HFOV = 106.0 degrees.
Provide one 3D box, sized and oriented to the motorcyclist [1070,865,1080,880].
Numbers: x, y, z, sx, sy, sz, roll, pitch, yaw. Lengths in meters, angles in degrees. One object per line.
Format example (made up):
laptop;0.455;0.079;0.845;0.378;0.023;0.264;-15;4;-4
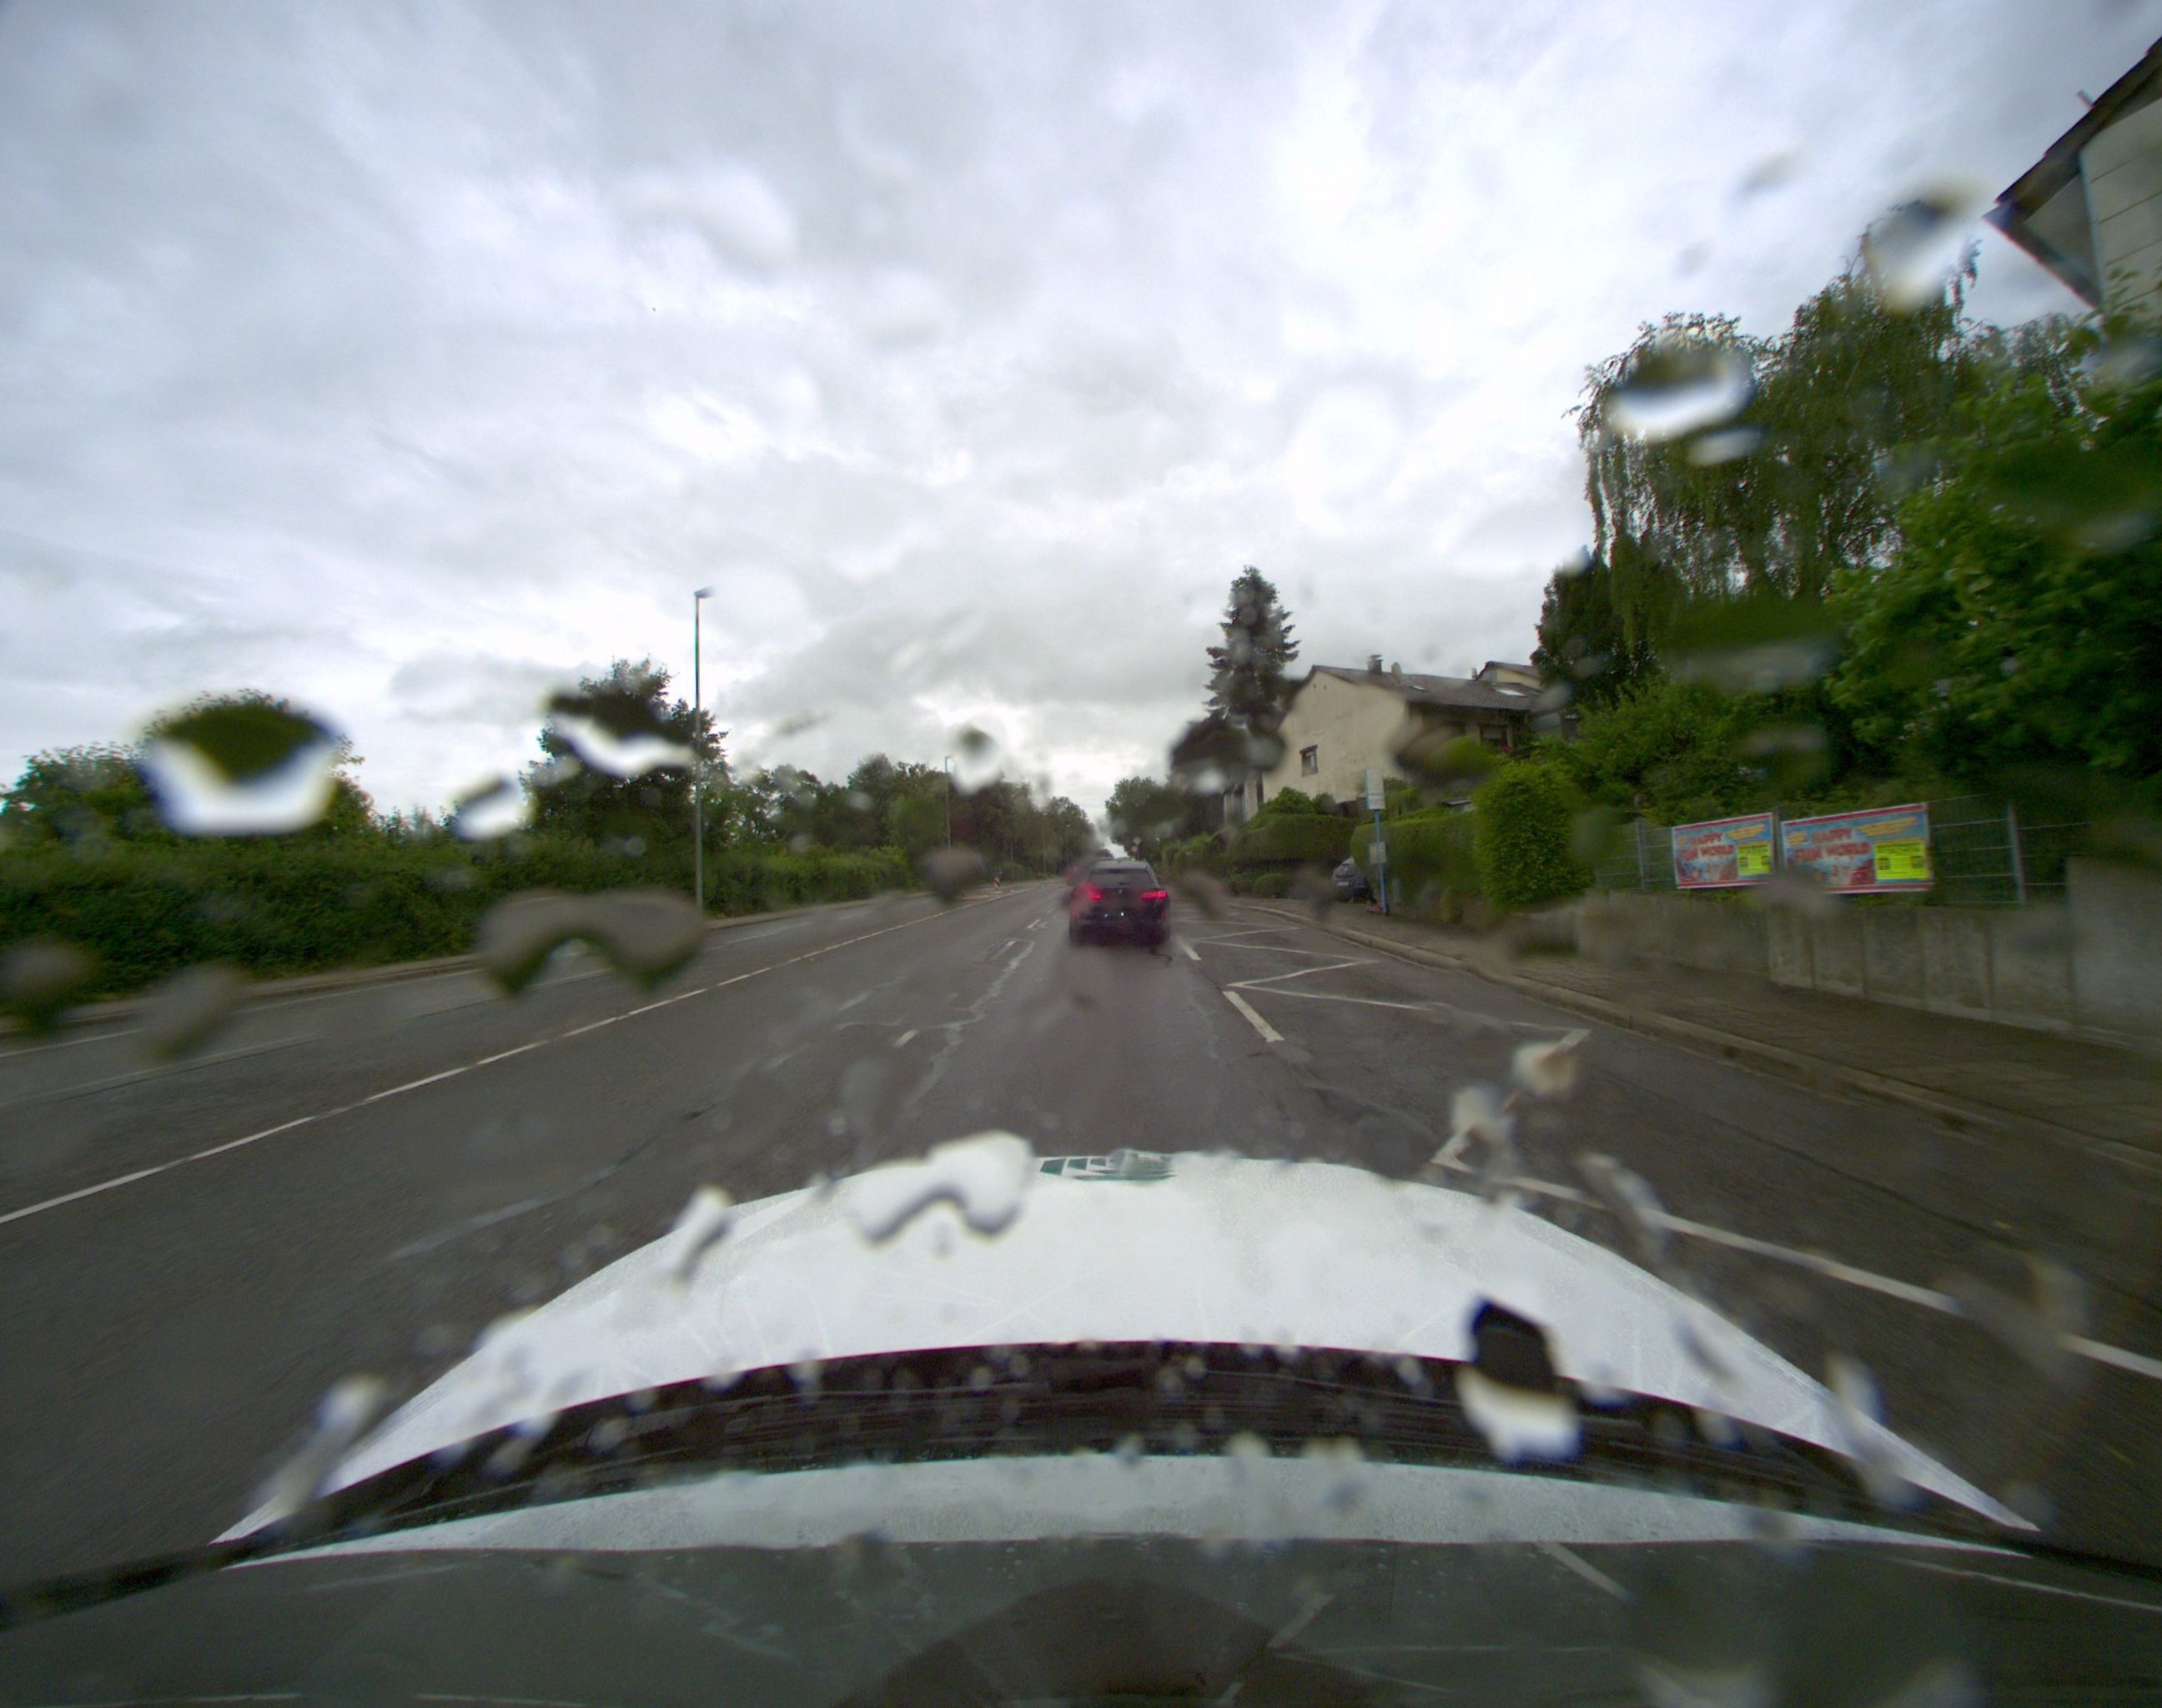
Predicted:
motorcyclist;-0.628;1.887;84.730;1.036;1.568;0.855;0;-1;1

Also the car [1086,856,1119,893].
car;1.169;1.072;44.425;1.623;1.833;4.001;-3;0;1

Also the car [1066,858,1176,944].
car;0.782;0.838;16.099;1.889;1.489;4.002;0;-1;2

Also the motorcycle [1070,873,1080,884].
motorcycle;-0.631;2.555;84.768;0.873;1.124;2.741;-1;-1;2

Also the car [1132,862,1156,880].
car;5.466;1.427;70.910;1.927;1.442;4.412;-3;-1;4

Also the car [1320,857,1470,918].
car;8.972;0.986;23.316;3.706;1.298;1.761;7;-5;-19
